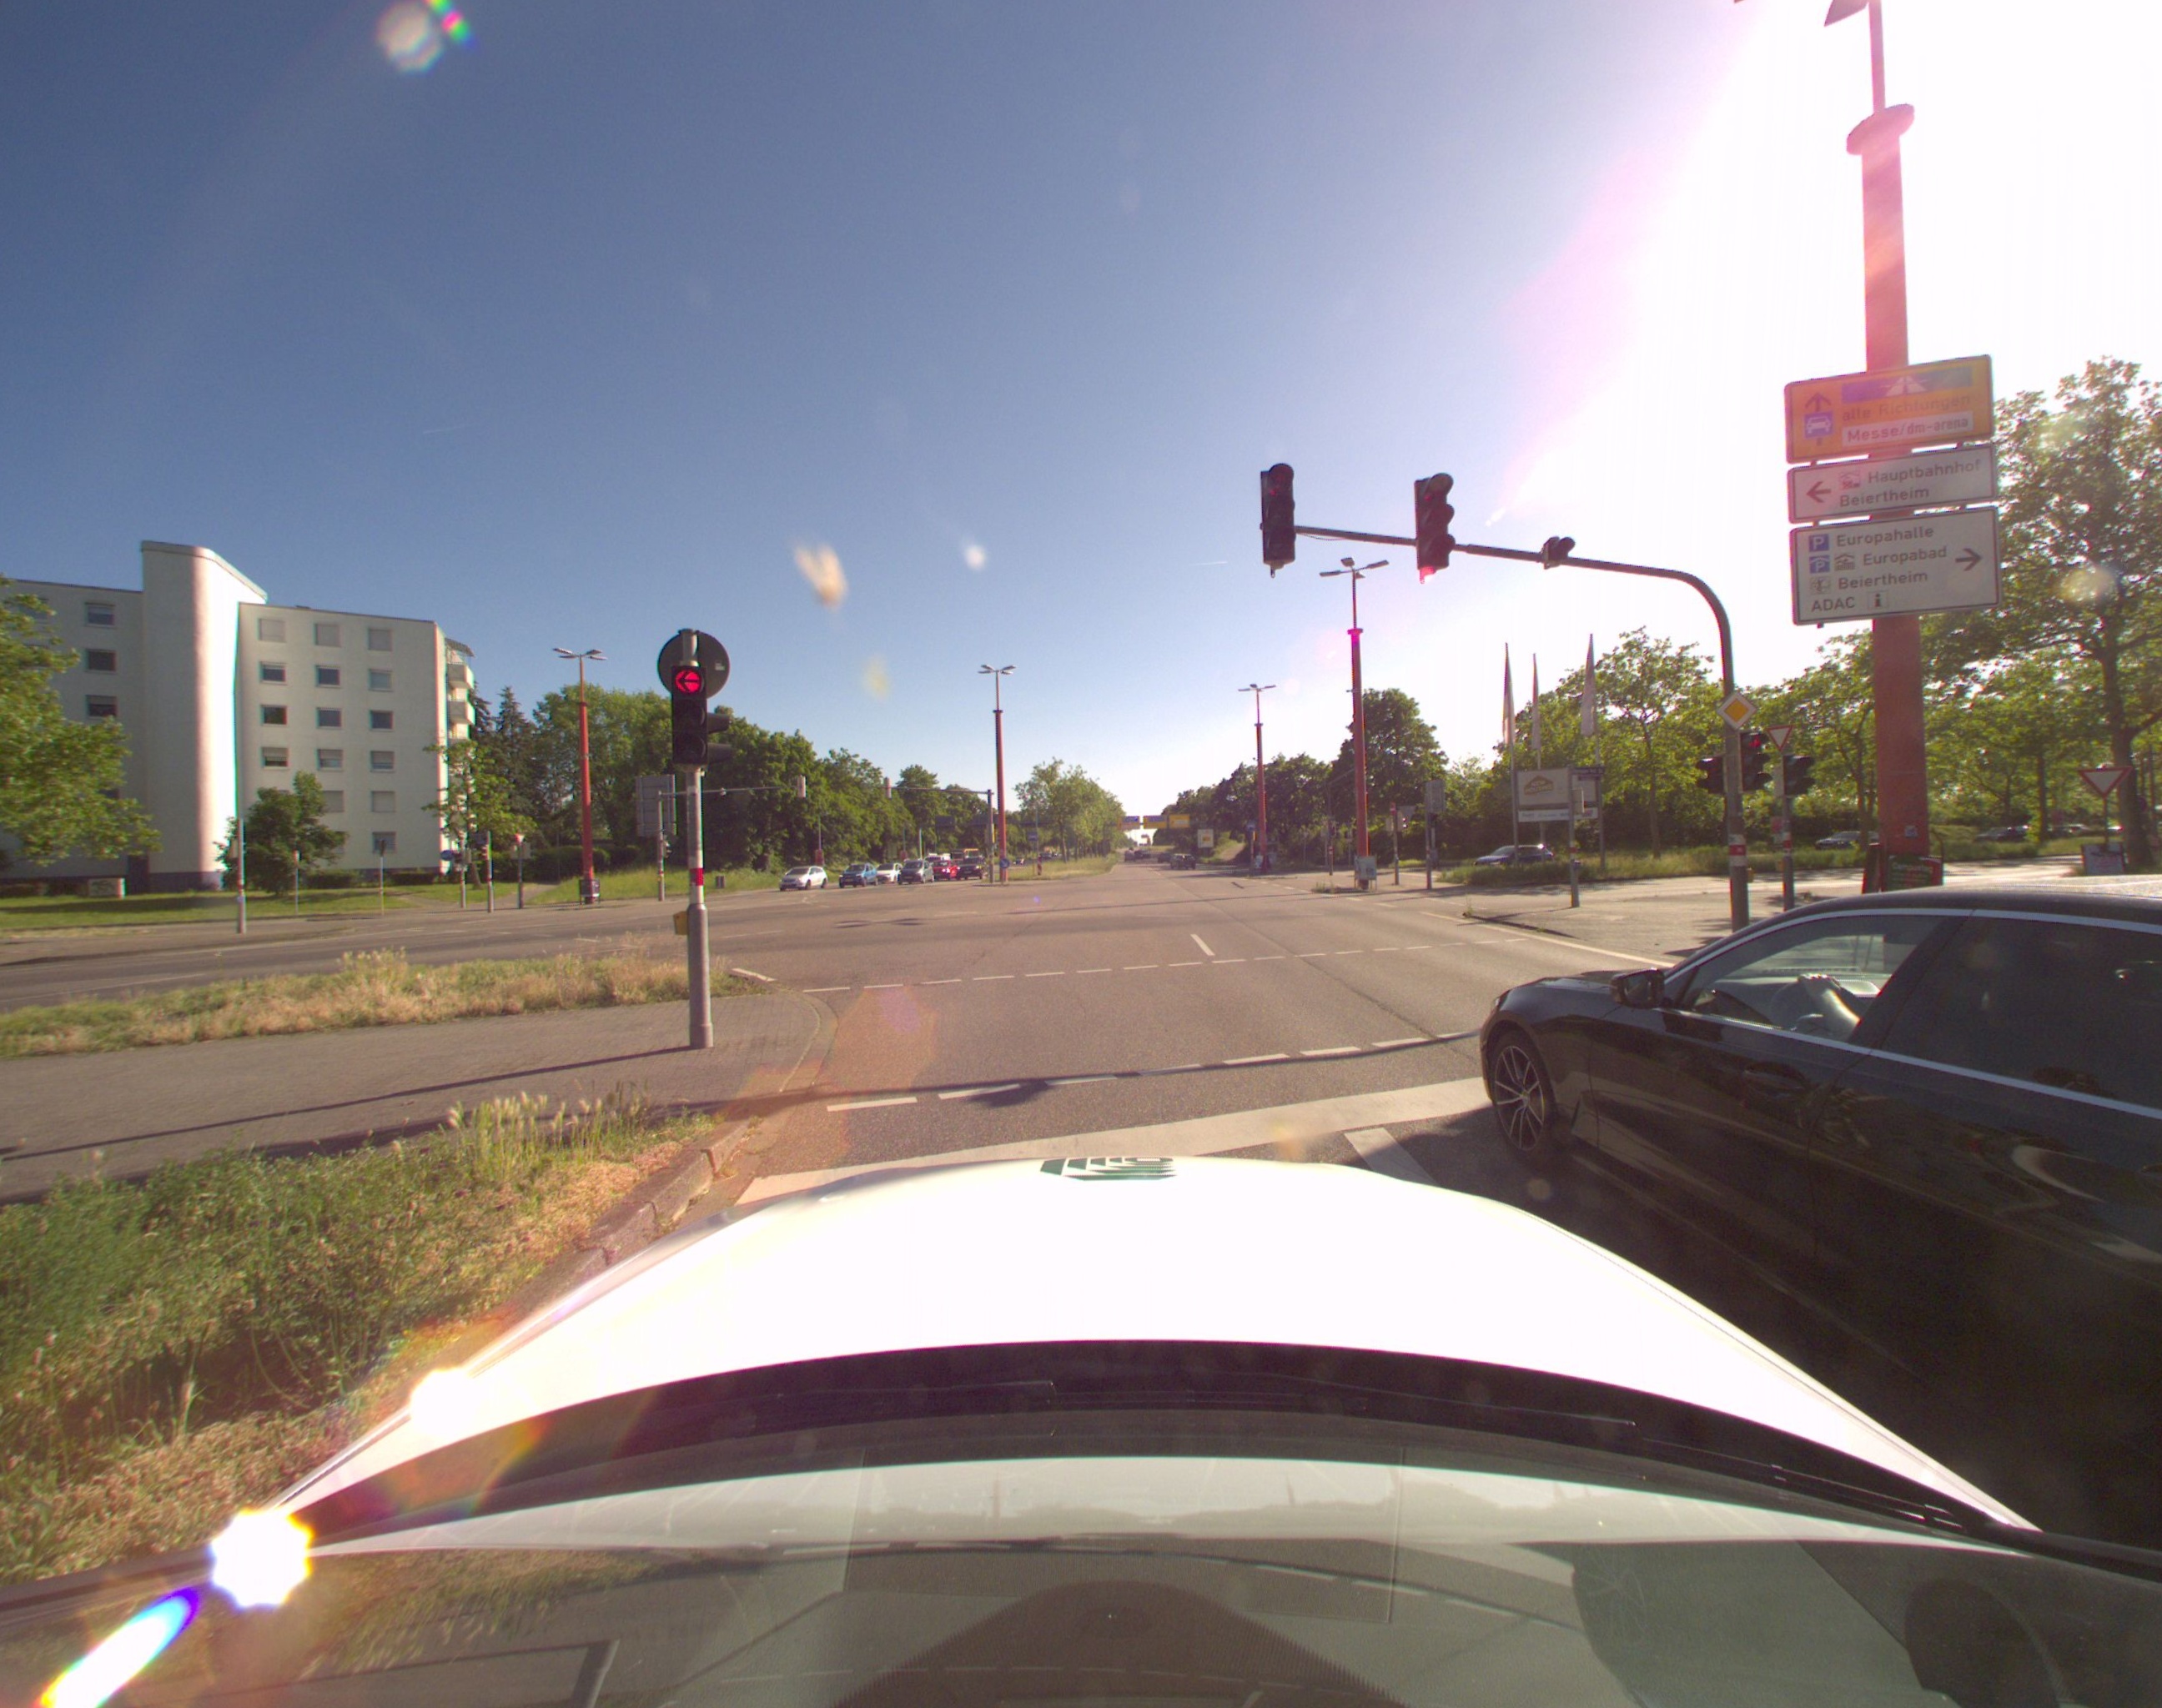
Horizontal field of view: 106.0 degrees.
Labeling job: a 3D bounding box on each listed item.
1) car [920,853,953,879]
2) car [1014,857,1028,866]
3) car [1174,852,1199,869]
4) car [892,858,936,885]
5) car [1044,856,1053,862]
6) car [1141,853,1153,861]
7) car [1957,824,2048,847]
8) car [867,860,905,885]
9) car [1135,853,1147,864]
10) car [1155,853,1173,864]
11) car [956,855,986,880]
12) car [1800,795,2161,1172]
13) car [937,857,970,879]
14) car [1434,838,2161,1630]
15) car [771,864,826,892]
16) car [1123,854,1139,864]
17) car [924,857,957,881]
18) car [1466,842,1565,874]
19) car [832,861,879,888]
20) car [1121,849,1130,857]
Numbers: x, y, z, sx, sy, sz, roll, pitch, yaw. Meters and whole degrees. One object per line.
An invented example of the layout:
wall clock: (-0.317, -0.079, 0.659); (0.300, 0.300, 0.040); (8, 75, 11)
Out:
car: (-12.733, 1.054, 71.987); (2.055, 2.193, 4.377); (-2, 0, 0)
car: (-11.307, 1.339, 153.566); (1.985, 1.573, 4.123); (-2, 0, 2)
car: (10.490, 0.647, 81.019); (2.149, 1.573, 4.285); (-2, 0, 4)
car: (-10.732, 1.080, 52.581); (1.988, 1.573, 4.119); (-2, 0, -1)
car: (-8.116, 1.331, 203.113); (1.877, 1.454, 3.658); (-2, 0, 2)
car: (13.940, 0.720, 172.305); (2.153, 1.573, 4.277); (-2, 0, -2)
car: (71.928, -1.445, 63.655); (4.225, 1.573, 2.180); (-2, 0, 32)
car: (-13.736, 1.281, 57.524); (1.991, 1.573, 4.112); (-3, 0, -6)
car: (11.588, 0.923, 157.448); (1.986, 2.013, 4.002); (-2, 0, 2)
car: (12.596, 0.642, 124.162); (2.153, 1.573, 4.277); (-2, 0, -2)
car: (-7.567, 0.925, 56.490); (1.874, 1.573, 4.112); (-2, 0, -6)
car: (5.793, 0.564, 3.260); (1.959, 1.686, 4.479); (-1, 0, 2)
car: (-10.065, 1.094, 64.654); (1.988, 1.573, 4.118); (-2, 0, -1)
car: (2.946, 0.670, 2.372); (1.986, 1.394, 4.479); (-2, 0, 2)
car: (-17.694, 1.469, 51.182); (1.987, 1.573, 4.120); (-2, 0, 0)
car: (8.507, 0.832, 139.459); (2.241, 1.573, 4.276); (-2, 0, -3)
car: (-10.103, 1.064, 58.872); (1.991, 1.573, 4.112); (-2, 0, -6)
car: (21.652, 0.207, 40.634); (4.276, 1.428, 1.874); (-2, 0, -16)
car: (-14.237, 1.286, 51.642); (1.989, 1.573, 4.116); (-2, 0, -3)
car: (11.730, -0.142, 214.633); (1.986, 2.013, 4.002); (-2, 0, 2)
